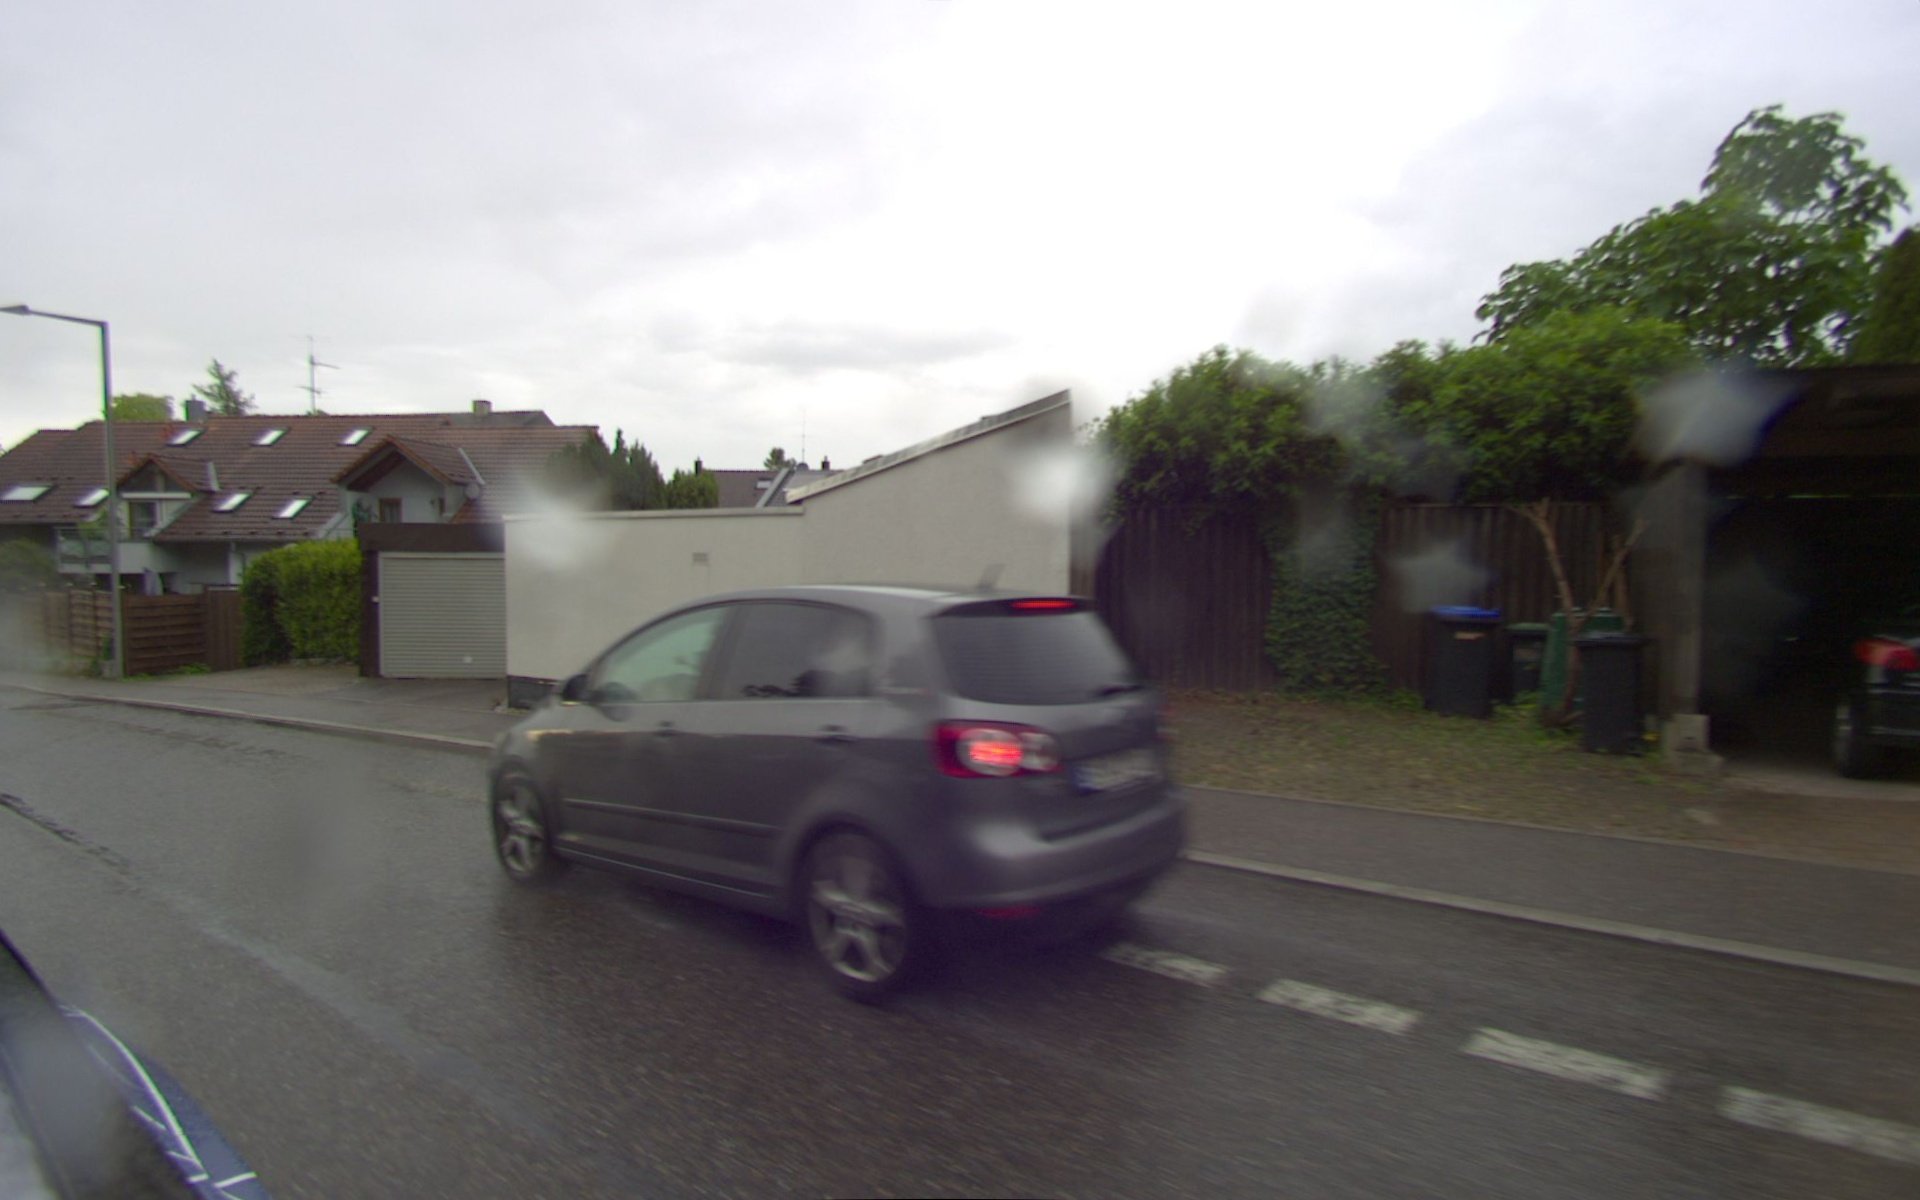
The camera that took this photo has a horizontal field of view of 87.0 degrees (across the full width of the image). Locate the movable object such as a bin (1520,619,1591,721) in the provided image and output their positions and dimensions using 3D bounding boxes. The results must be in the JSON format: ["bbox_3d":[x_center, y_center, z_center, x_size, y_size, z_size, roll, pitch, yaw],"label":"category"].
[{"bbox_3d":[5.295,0.605,9.027,0.509,0.863,0.613,-1,-1,29],"label":"movable object such as a bin"}]

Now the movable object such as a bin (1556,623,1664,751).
[{"bbox_3d":[4.944,0.637,7.735,0.617,0.911,0.680,-1,-1,28],"label":"movable object such as a bin"}]

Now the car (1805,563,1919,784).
[{"bbox_3d":[7.360,0.428,7.228,1.788,1.313,3.958,-1,-1,37],"label":"car"}]

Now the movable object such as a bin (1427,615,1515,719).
[{"bbox_3d":[4.737,0.603,9.375,0.684,0.911,0.613,-1,-1,29],"label":"movable object such as a bin"}]

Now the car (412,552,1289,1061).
[{"bbox_3d":[-0.909,0.631,5.224,4.614,1.523,1.816,-1,0,40],"label":"car"}]
